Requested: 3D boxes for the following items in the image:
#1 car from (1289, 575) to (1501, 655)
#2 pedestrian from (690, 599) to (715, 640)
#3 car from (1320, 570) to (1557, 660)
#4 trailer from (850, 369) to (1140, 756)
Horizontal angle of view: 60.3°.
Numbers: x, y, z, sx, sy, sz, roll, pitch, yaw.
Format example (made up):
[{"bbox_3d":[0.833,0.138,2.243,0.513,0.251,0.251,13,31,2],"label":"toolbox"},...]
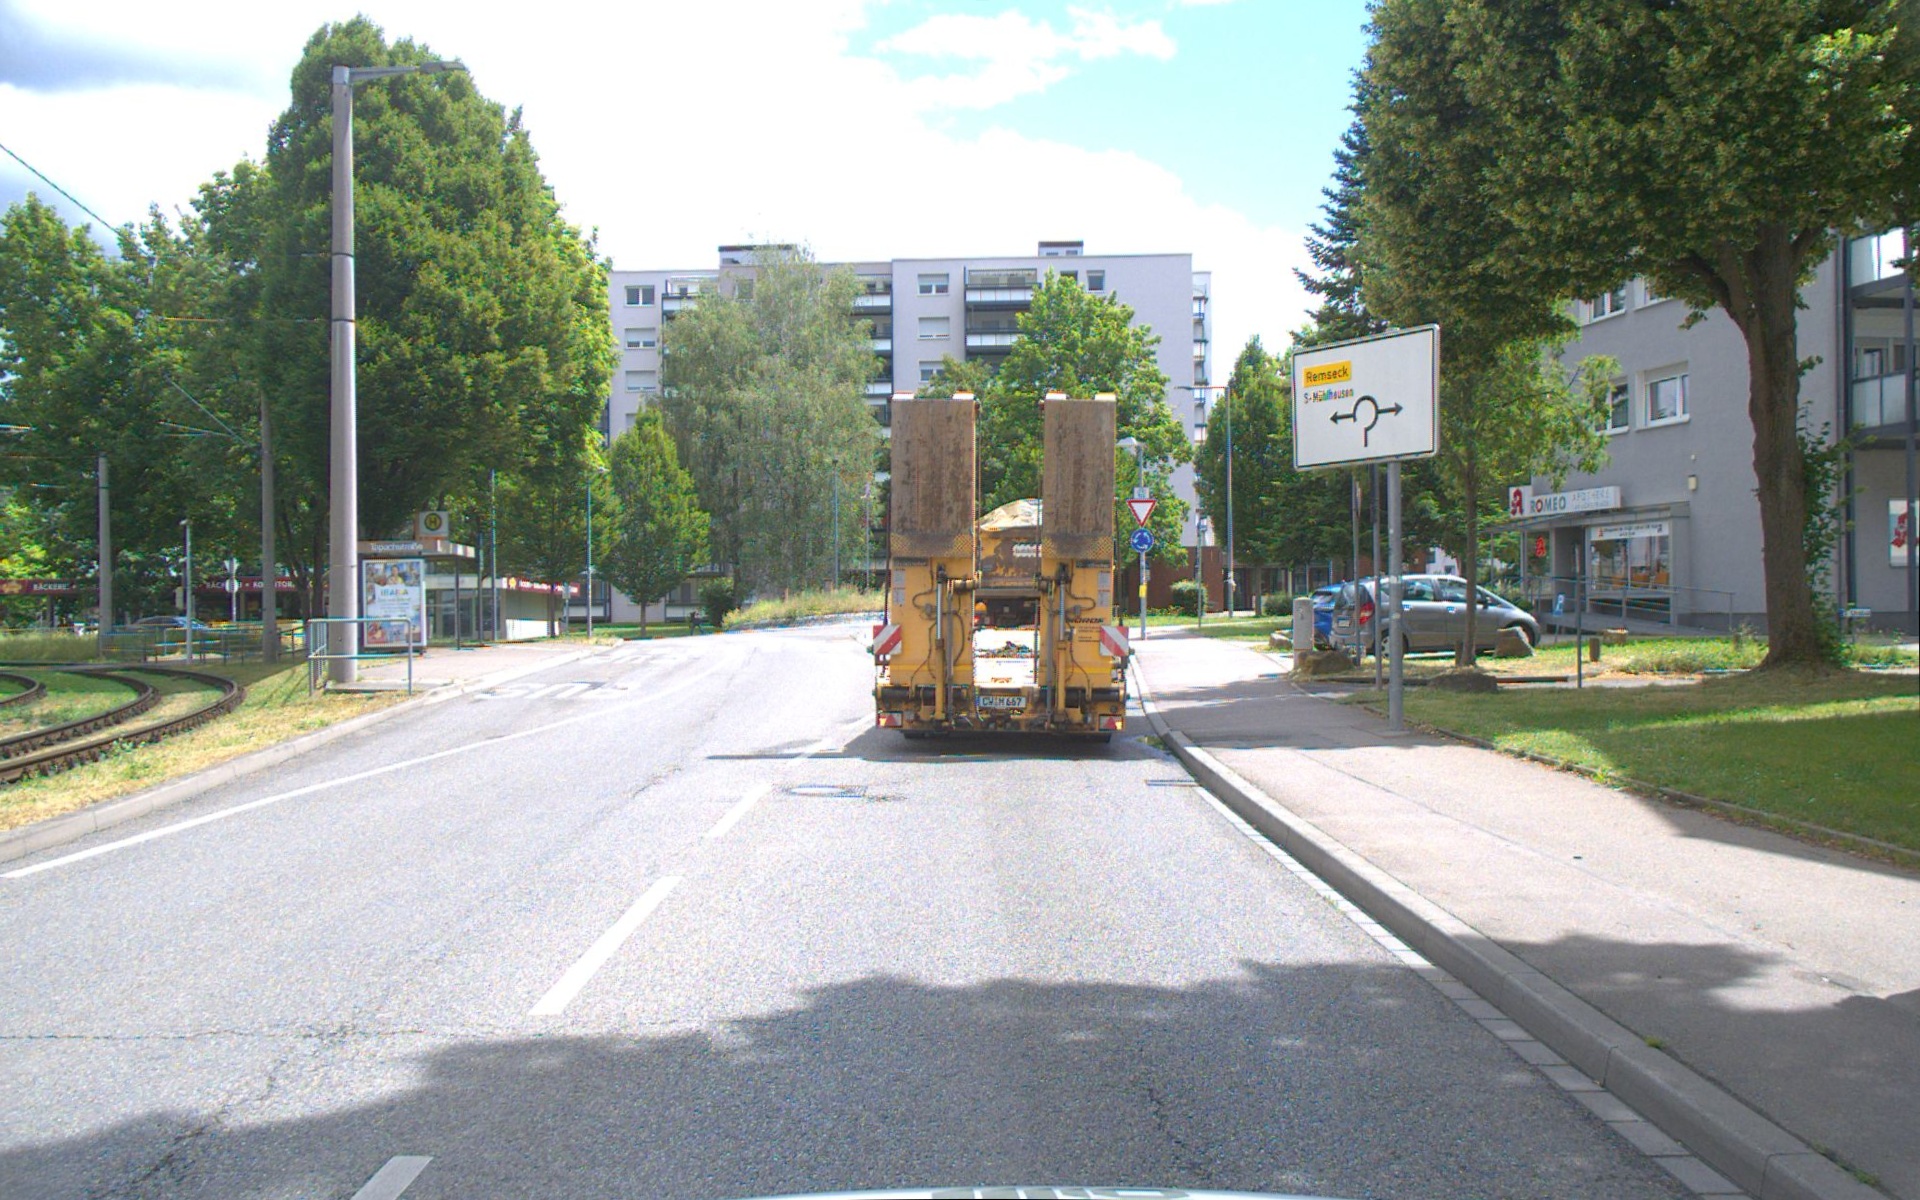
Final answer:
[{"bbox_3d":[9.016,0.316,34.364,3.918,1.588,1.754,1,0,-13],"label":"car"},{"bbox_3d":[-13.012,0.981,83.576,0.898,2.049,0.952,1,0,-31],"label":"pedestrian"},{"bbox_3d":[8.911,0.276,30.923,3.918,1.588,1.754,1,0,-13],"label":"car"},{"bbox_3d":[0.905,-0.392,22.134,2.767,3.709,12.362,1,0,5],"label":"trailer"}]
